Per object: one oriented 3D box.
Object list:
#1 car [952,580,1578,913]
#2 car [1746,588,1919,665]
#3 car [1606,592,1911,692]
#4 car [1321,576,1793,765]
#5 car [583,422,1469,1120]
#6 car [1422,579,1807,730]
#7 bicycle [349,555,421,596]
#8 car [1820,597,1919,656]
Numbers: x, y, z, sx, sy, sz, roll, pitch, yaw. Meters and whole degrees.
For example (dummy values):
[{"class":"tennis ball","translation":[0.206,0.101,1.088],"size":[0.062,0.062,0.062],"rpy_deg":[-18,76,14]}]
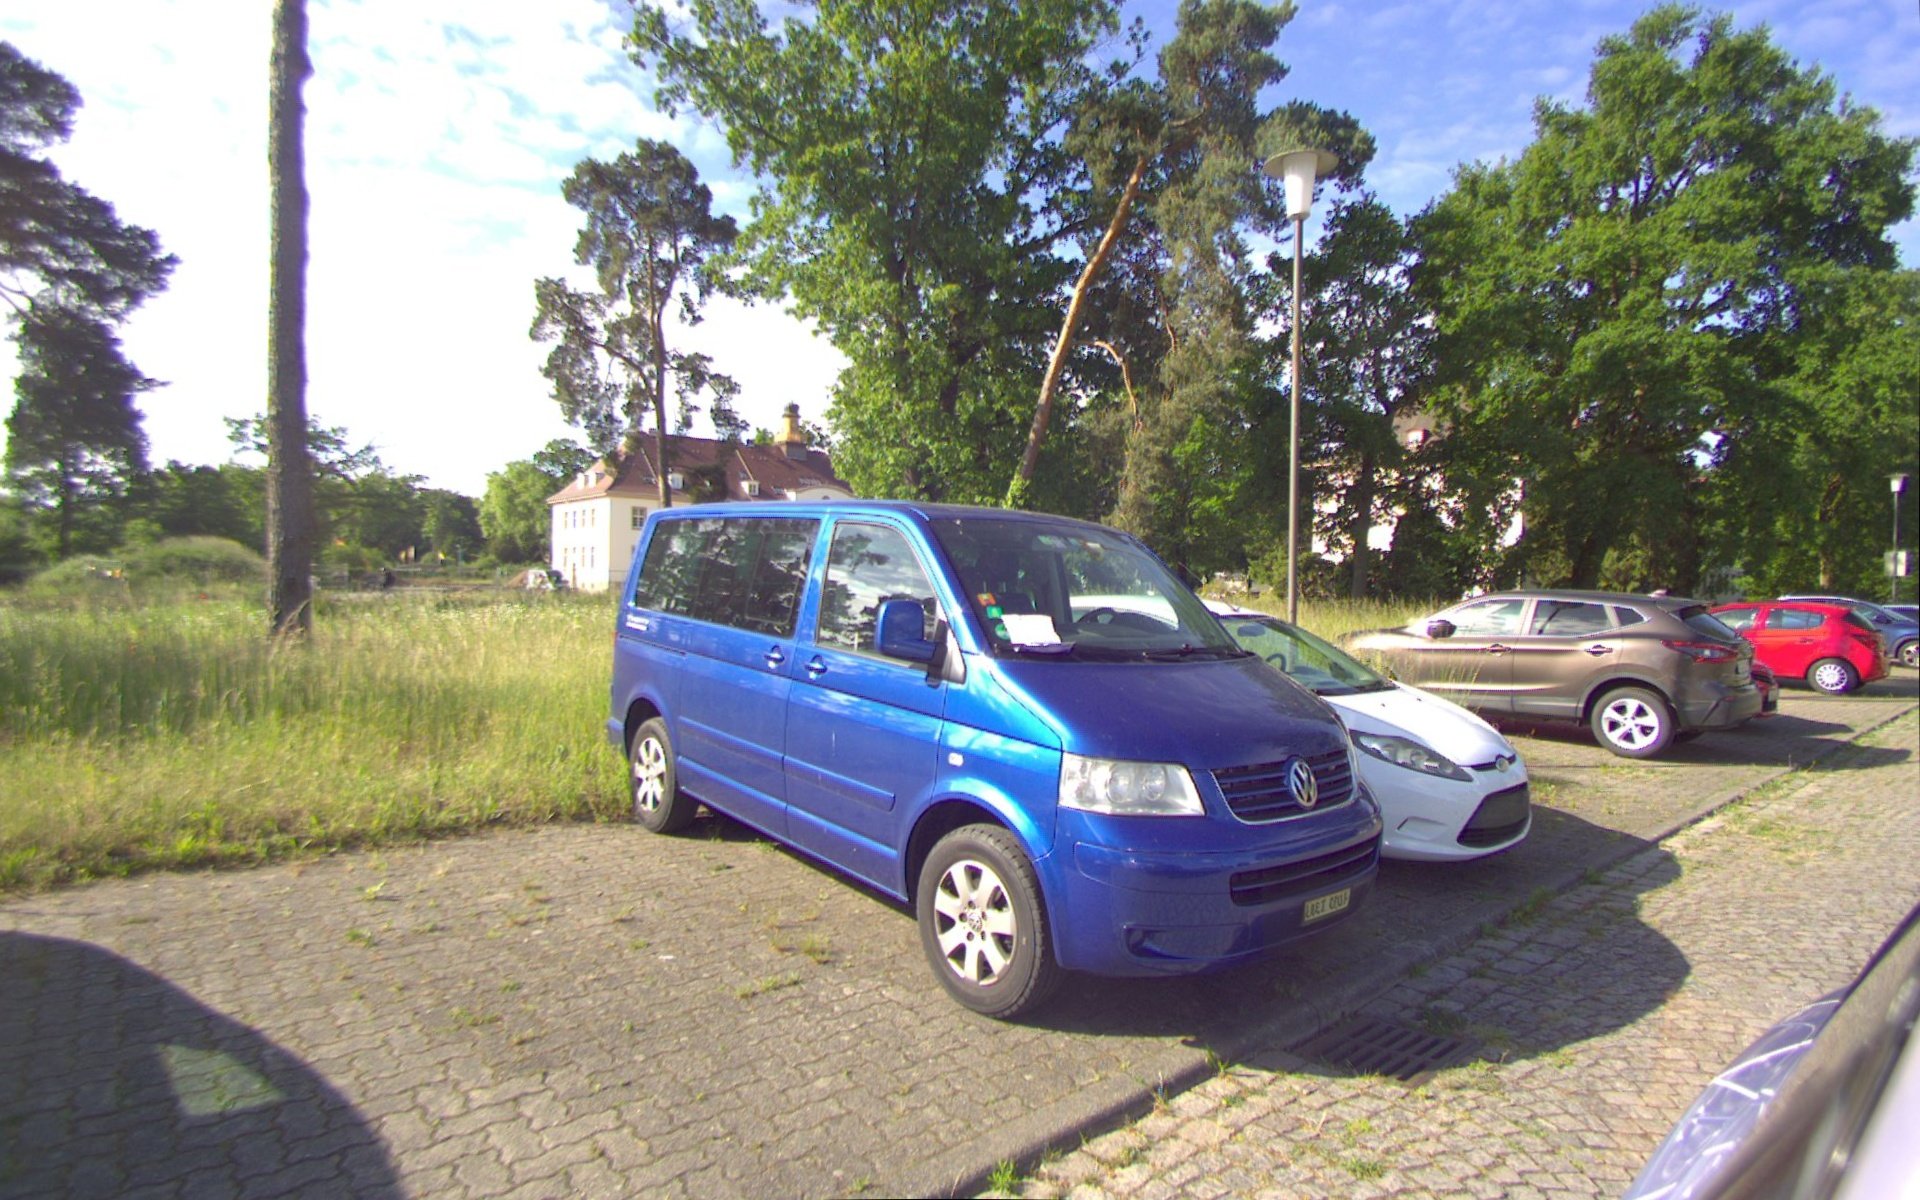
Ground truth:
[{"class":"car","translation":[1.777,0.677,6.794],"size":[1.582,1.485,3.726],"rpy_deg":[0,2,-42]},{"class":"car","translation":[21.699,0.601,24.246],"size":[1.622,1.618,4.272],"rpy_deg":[0,3,-40]},{"class":"car","translation":[13.902,0.643,17.817],"size":[1.513,1.514,3.995],"rpy_deg":[0,1,-40]},{"class":"car","translation":[6.338,0.591,11.130],"size":[1.755,1.631,4.114],"rpy_deg":[0,2,-41]},{"class":"car","translation":[-0.192,0.371,5.413],"size":[1.964,2.038,4.766],"rpy_deg":[0,3,-39]},{"class":"car","translation":[8.293,0.569,13.098],"size":[1.673,1.558,3.834],"rpy_deg":[0,2,-39]},{"class":"bicycle","translation":[-29.783,-1.283,52.433],"size":[3.077,2.038,0.952],"rpy_deg":[-2,2,-42]},{"class":"car","translation":[25.554,0.705,26.943],"size":[1.715,1.484,3.809],"rpy_deg":[0,1,-39]}]
